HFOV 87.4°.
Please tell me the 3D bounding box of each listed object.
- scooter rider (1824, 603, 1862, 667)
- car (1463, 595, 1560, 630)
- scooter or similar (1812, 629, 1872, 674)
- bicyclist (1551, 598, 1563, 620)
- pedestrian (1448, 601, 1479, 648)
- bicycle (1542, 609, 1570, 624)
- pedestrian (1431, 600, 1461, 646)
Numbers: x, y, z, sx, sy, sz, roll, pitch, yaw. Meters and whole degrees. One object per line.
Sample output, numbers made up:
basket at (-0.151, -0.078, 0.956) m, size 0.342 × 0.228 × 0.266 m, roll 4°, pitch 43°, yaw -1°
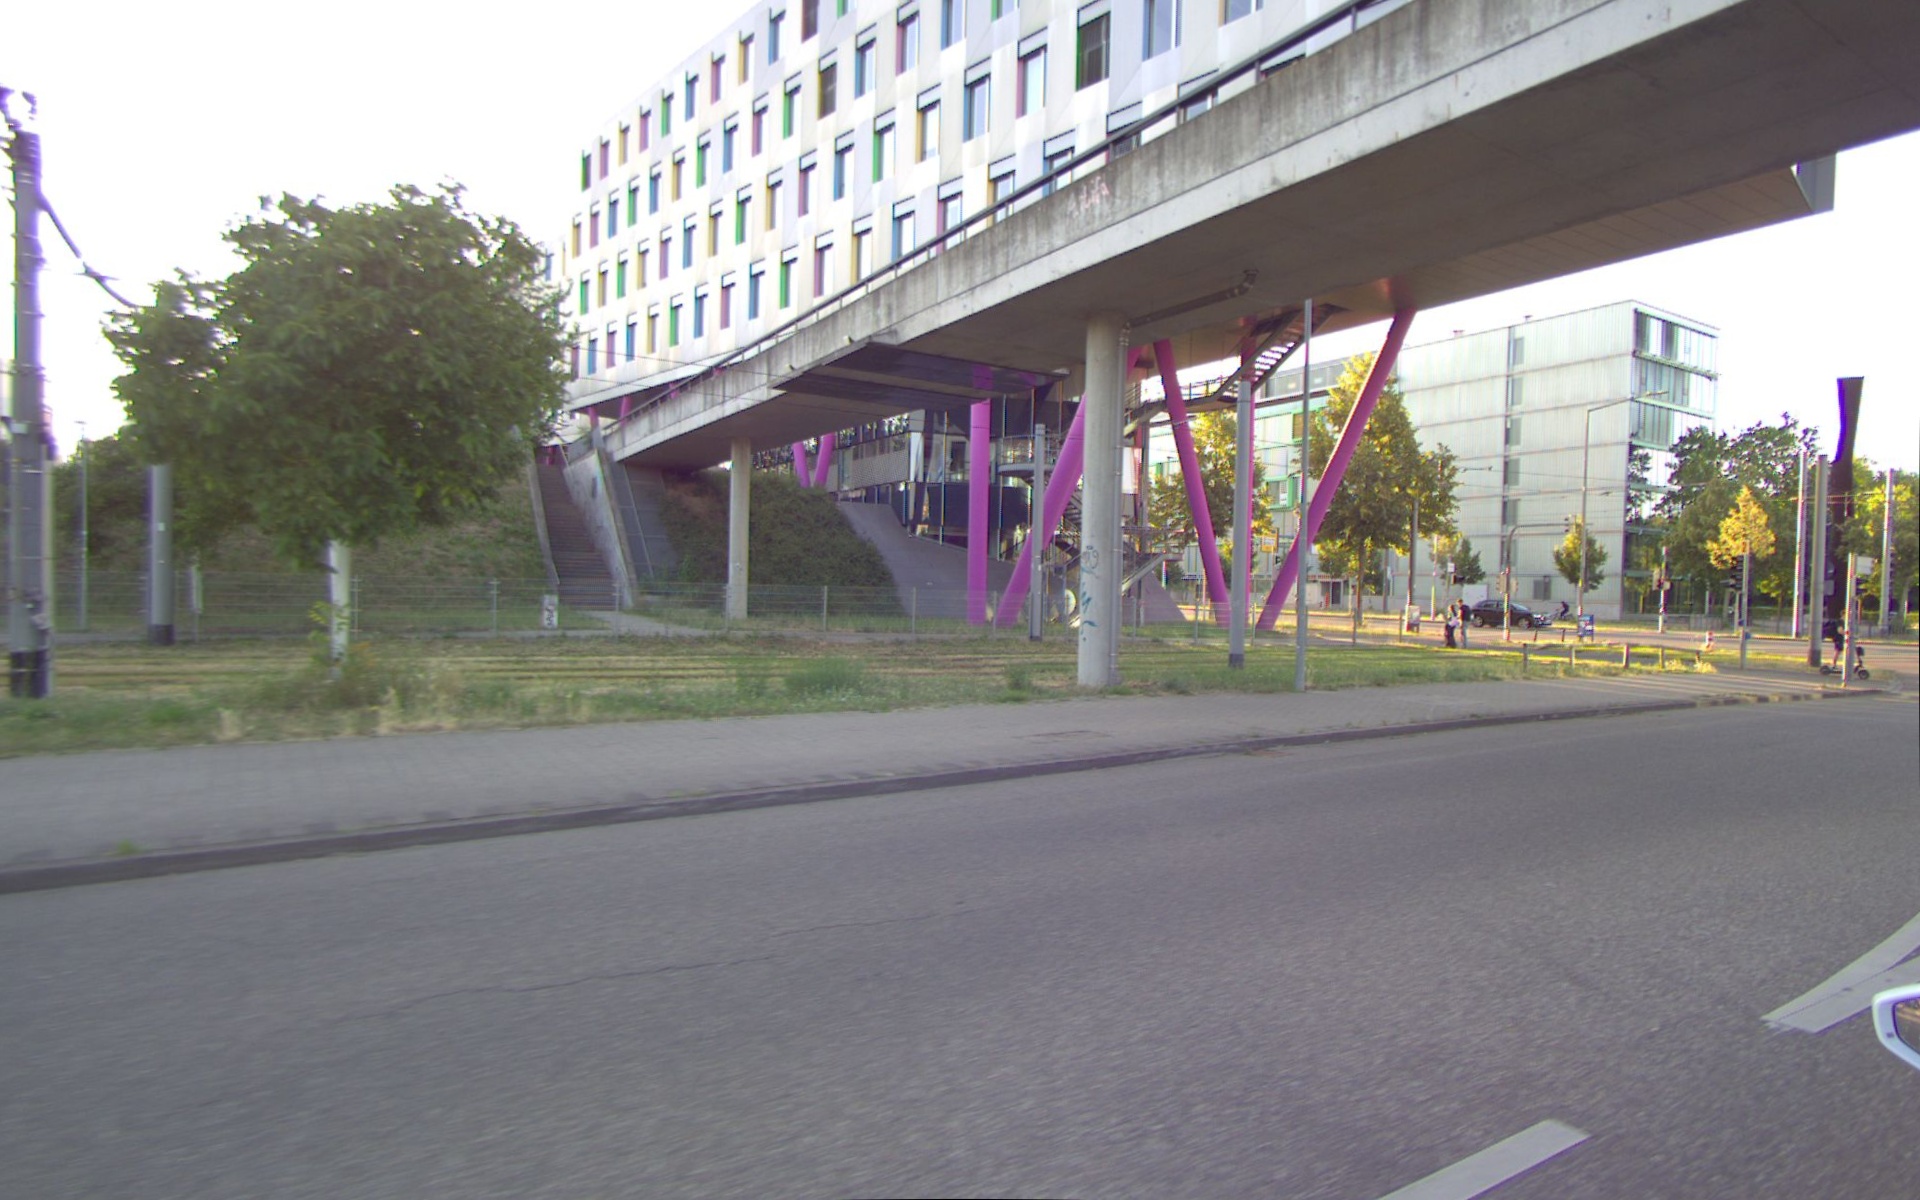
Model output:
scooter rider at (25.664, 0.999, 29.196) m, size 0.438 × 1.807 × 0.701 m, roll -1°, pitch 2°, yaw -33°
car at (31.108, 0.673, 56.801) m, size 1.923 × 1.841 × 4.444 m, roll 0°, pitch 2°, yaw -31°
scooter or similar at (25.643, 1.483, 29.224) m, size 0.498 × 1.217 × 1.206 m, roll -1°, pitch 2°, yaw -34°
bicyclist at (48.114, 0.698, 80.907) m, size 0.747 × 1.746 × 0.550 m, roll 2°, pitch 2°, yaw 35°
pedestrian at (18.535, 0.892, 37.001) m, size 0.699 × 1.686 × 0.700 m, roll 0°, pitch 2°, yaw -13°
bicycle at (48.038, 1.294, 80.984) m, size 1.936 × 1.143 × 0.558 m, roll 1°, pitch 2°, yaw 35°
pedestrian at (17.822, 0.849, 36.834) m, size 0.699 × 1.646 × 0.686 m, roll 0°, pitch 2°, yaw -13°
